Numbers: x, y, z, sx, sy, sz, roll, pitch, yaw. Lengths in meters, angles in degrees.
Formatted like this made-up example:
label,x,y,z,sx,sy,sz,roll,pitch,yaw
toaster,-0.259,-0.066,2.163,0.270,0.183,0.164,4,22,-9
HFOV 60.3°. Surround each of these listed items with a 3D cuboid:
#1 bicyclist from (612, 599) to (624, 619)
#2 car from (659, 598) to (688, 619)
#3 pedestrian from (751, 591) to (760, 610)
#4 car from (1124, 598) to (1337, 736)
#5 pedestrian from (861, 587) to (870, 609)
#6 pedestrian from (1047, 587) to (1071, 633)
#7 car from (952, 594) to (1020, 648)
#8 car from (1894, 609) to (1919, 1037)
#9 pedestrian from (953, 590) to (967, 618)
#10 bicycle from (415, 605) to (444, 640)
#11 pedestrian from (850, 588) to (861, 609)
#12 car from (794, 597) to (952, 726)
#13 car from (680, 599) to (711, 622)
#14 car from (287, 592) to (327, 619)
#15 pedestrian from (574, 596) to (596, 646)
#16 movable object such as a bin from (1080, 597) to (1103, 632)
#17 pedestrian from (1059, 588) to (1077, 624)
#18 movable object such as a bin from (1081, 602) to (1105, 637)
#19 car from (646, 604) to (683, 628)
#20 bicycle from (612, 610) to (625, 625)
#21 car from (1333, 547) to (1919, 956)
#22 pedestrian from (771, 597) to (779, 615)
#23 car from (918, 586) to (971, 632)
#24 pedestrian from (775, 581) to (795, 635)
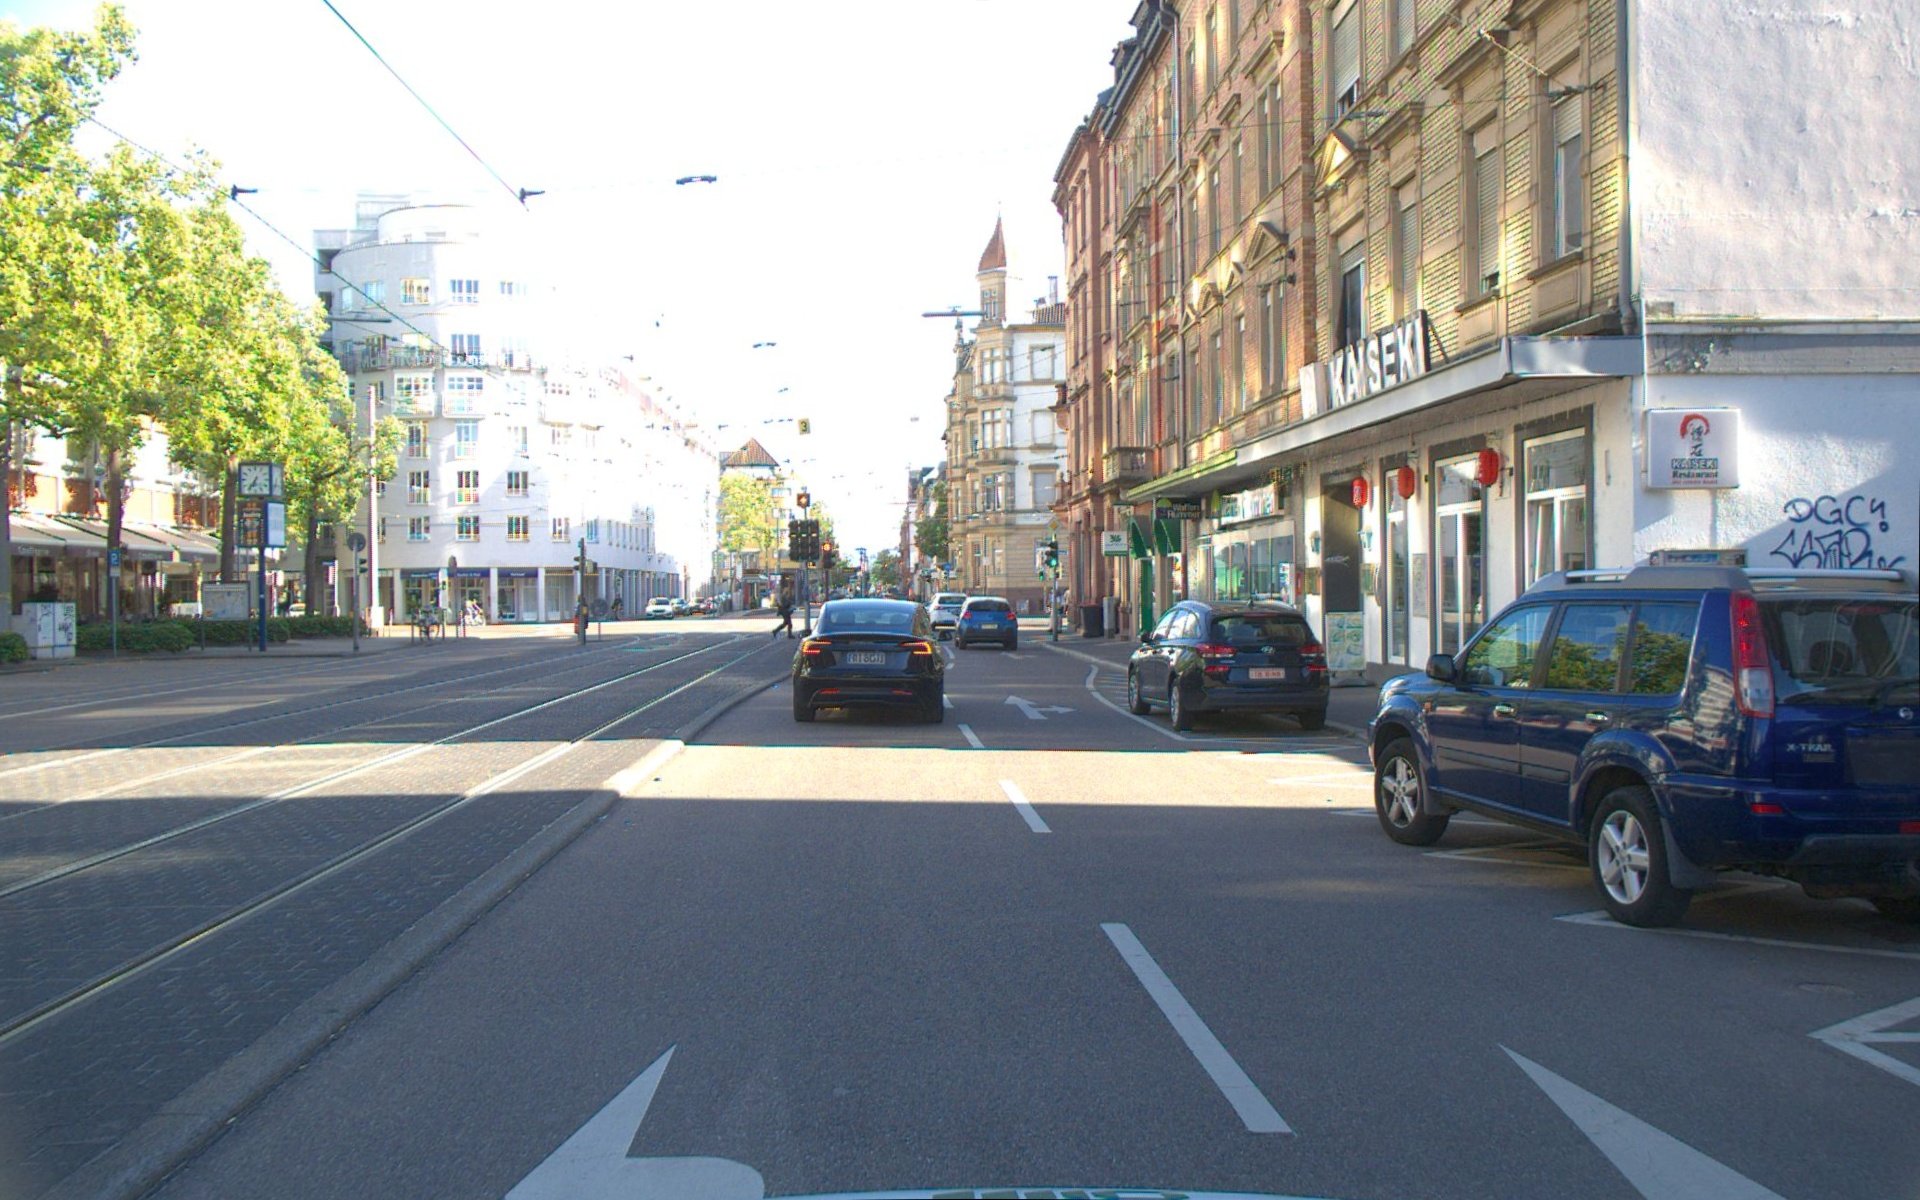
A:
label,x,y,z,sx,sy,sz,roll,pitch,yaw
bicyclist,-22.648,0.629,109.589,0.577,1.308,0.926,-1,-1,-3
car,-23.084,0.719,133.527,1.955,1.624,3.995,-1,-1,-5
pedestrian,-17.517,0.025,141.428,0.717,1.554,0.742,0,1,-4
car,3.197,0.738,20.356,1.656,1.476,4.357,1,0,-3
pedestrian,-7.657,-0.140,134.146,0.623,1.727,0.934,1,-1,4
pedestrian,3.524,0.347,59.067,0.669,1.635,0.729,-1,0,-12
car,0.717,0.582,48.198,1.745,1.476,3.652,1,0,-3
car,4.268,0.784,4.038,1.680,1.480,3.775,1,0,-3
pedestrian,0.006,0.250,106.480,0.765,1.780,1.092,0,2,-6
bicycle,-19.045,0.810,59.433,0.487,1.207,2.233,-1,0,-5
pedestrian,-8.744,-0.134,138.950,0.704,1.808,0.563,-1,0,33
car,-1.114,0.700,20.967,1.774,1.449,4.151,1,0,-3
car,-22.950,0.897,143.685,2.183,1.944,4.605,-1,0,-4
car,-38.271,0.311,96.981,1.769,1.427,4.084,-1,2,-17
pedestrian,-11.945,0.660,52.694,0.490,1.544,0.858,-2,0,-3
movable object such as a bin,4.355,0.478,54.891,0.650,1.091,0.545,-4,0,-1
pedestrian,5.126,0.271,78.723,0.686,1.684,0.632,-1,-1,19
movable object such as a bin,4.369,0.648,54.295,0.650,1.091,0.591,-4,0,-1
car,-19.604,1.030,109.777,1.954,1.477,4.498,-1,0,-5
bicycle,-22.642,1.159,109.679,0.582,0.989,1.817,-1,-1,-3
car,3.836,0.656,9.477,1.659,1.743,4.604,1,0,-10
pedestrian,-17.018,0.548,152.351,0.717,1.586,0.742,0,1,-4
car,-0.662,0.386,66.266,1.954,1.773,3.997,1,-1,-3
pedestrian,-5.862,0.257,55.565,0.547,1.794,0.894,-2,0,-3
